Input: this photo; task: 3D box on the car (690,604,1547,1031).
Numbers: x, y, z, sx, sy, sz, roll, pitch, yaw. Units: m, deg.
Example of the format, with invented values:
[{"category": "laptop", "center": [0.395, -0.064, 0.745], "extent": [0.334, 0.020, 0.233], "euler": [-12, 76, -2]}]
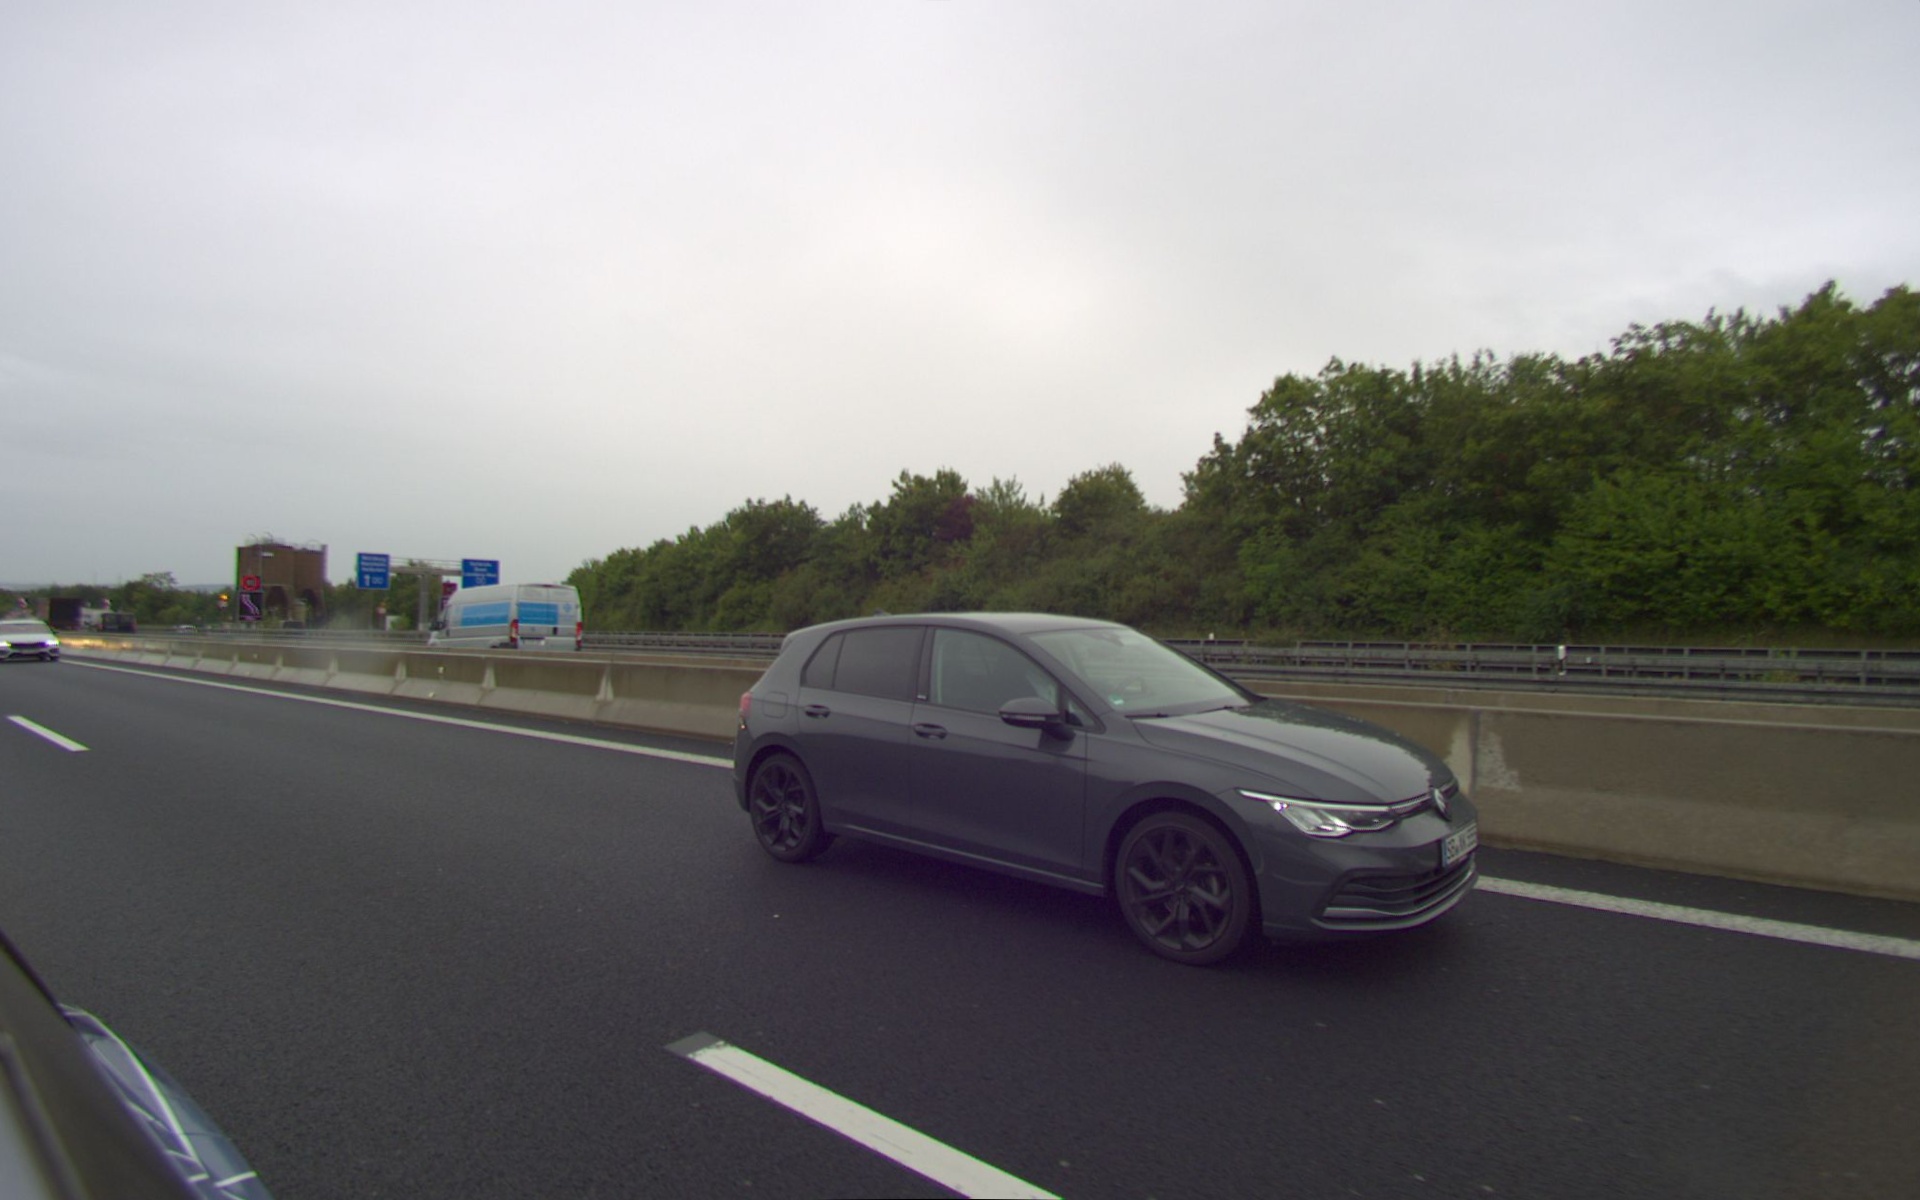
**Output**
[{"category": "car", "center": [0.553, 0.777, 5.565], "extent": [4.365, 1.436, 1.811], "euler": [-1, -1, 41]}]

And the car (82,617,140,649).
[{"category": "car", "center": [-52.306, 2.008, 62.308], "extent": [4.675, 1.850, 1.973], "euler": [-1, 0, 40]}]

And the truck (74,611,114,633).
[{"category": "truck", "center": [-151.917, 3.884, 177.357], "extent": [17.129, 3.837, 3.144], "euler": [-1, -1, 42]}]

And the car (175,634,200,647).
[{"category": "car", "center": [-88.505, 4.640, 115.888], "extent": [3.998, 1.409, 1.506], "euler": [-1, -1, 41]}]

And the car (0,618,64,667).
[{"category": "car", "center": [-33.575, 1.480, 36.048], "extent": [4.815, 1.603, 1.972], "euler": [-1, -1, 42]}]

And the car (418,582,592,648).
[{"category": "car", "center": [-13.147, 0.463, 29.017], "extent": [5.904, 1.706, 2.333], "euler": [-1, -2, 41]}]

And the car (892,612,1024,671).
[{"category": "car", "center": [-0.117, 1.479, 37.276], "extent": [4.712, 2.029, 1.973], "euler": [-1, -1, 40]}]

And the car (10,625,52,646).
[{"category": "car", "center": [-82.028, 3.112, 89.362], "extent": [4.957, 1.779, 2.134], "euler": [-2, -2, 41]}]

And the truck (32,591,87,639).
[{"category": "truck", "center": [-93.185, 1.574, 104.702], "extent": [10.486, 4.769, 3.362], "euler": [-1, -1, 43]}]
